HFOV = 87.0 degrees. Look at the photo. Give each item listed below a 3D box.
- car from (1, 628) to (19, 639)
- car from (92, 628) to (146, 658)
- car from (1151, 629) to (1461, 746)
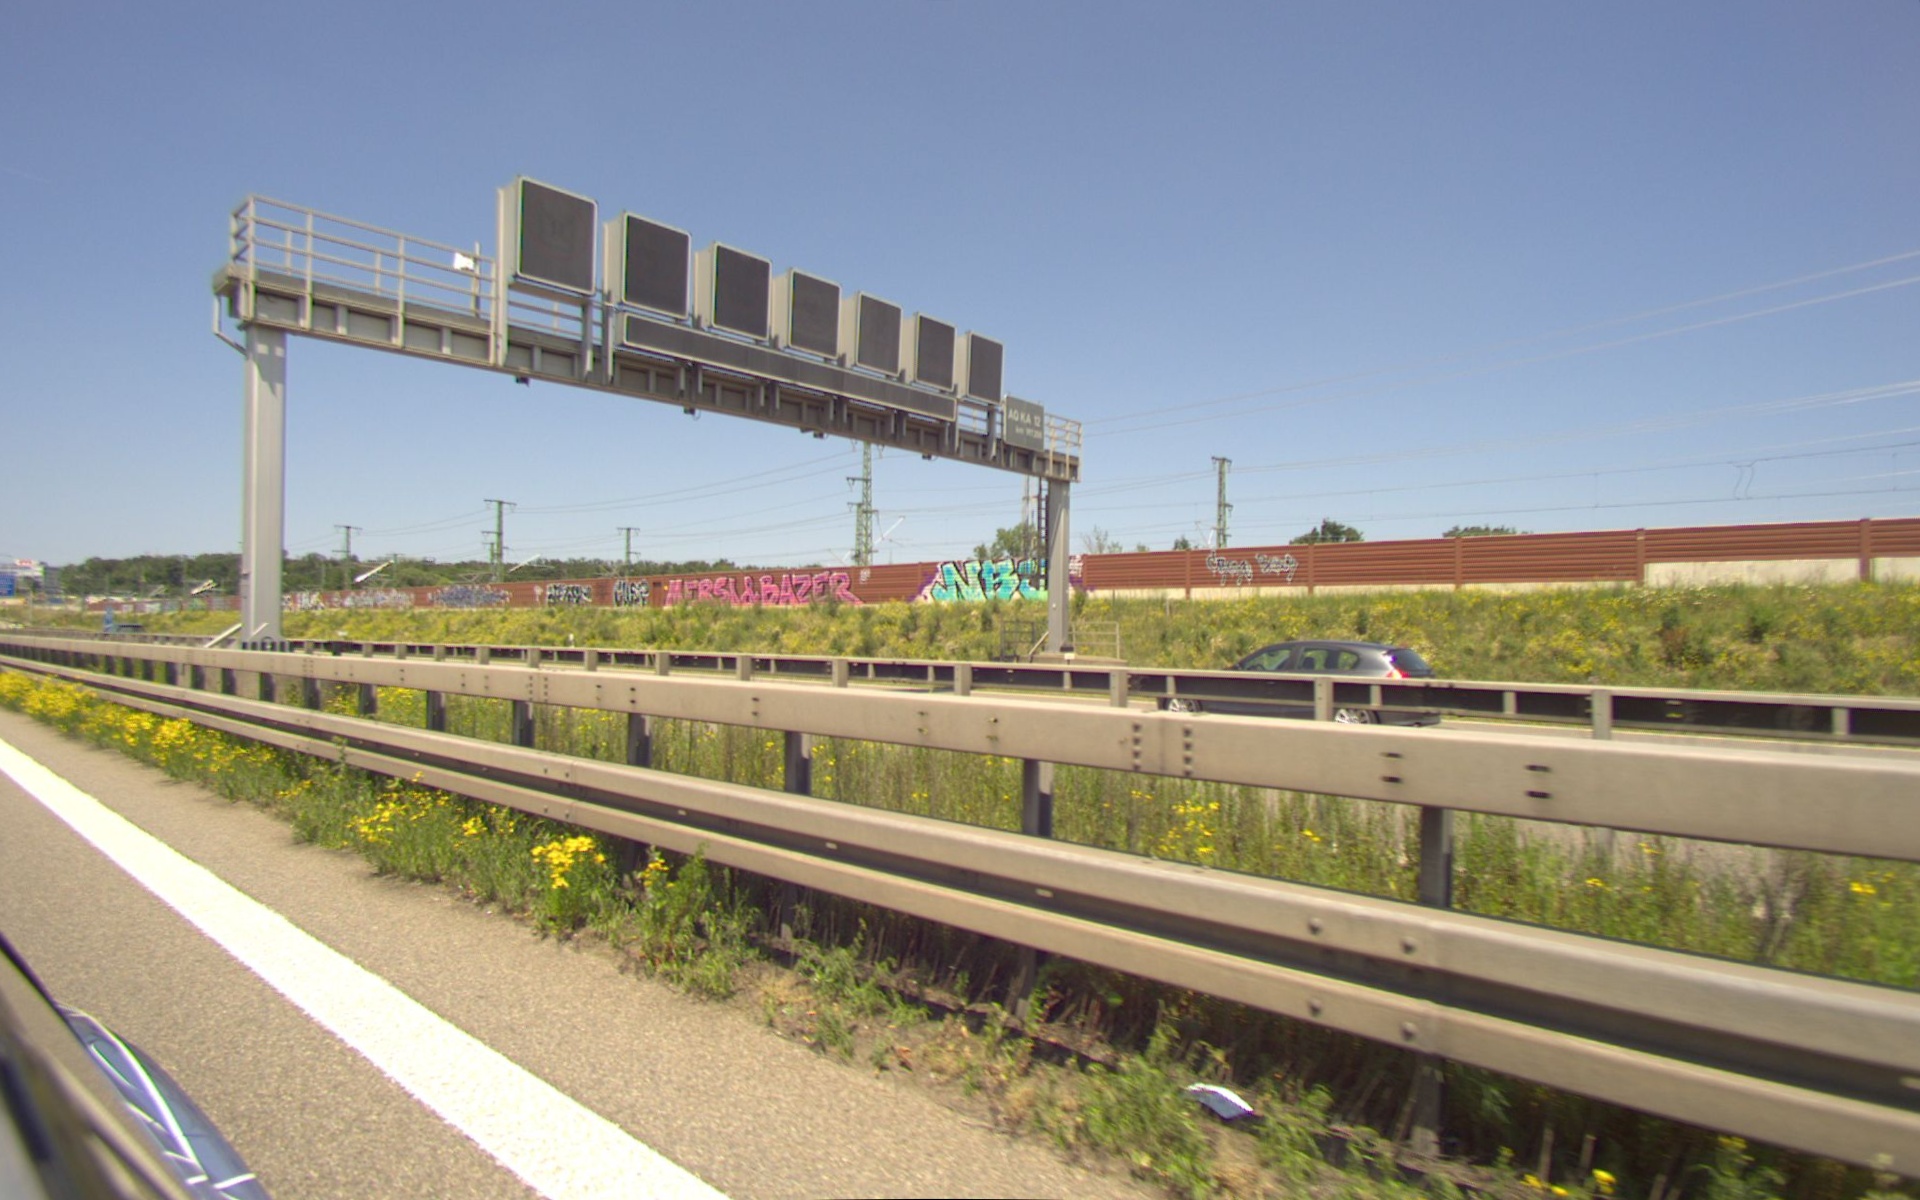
[{"bbox_3d":[-140.613,4.994,149.787,3.808,1.556,1.702,-1,-1,42],"label":"car"},{"bbox_3d":[-48.282,2.437,58.079,3.998,1.586,1.785,-2,-1,42],"label":"car"},{"bbox_3d":[4.992,1.200,14.908,3.998,1.485,1.674,-1,-4,41],"label":"car"}]
